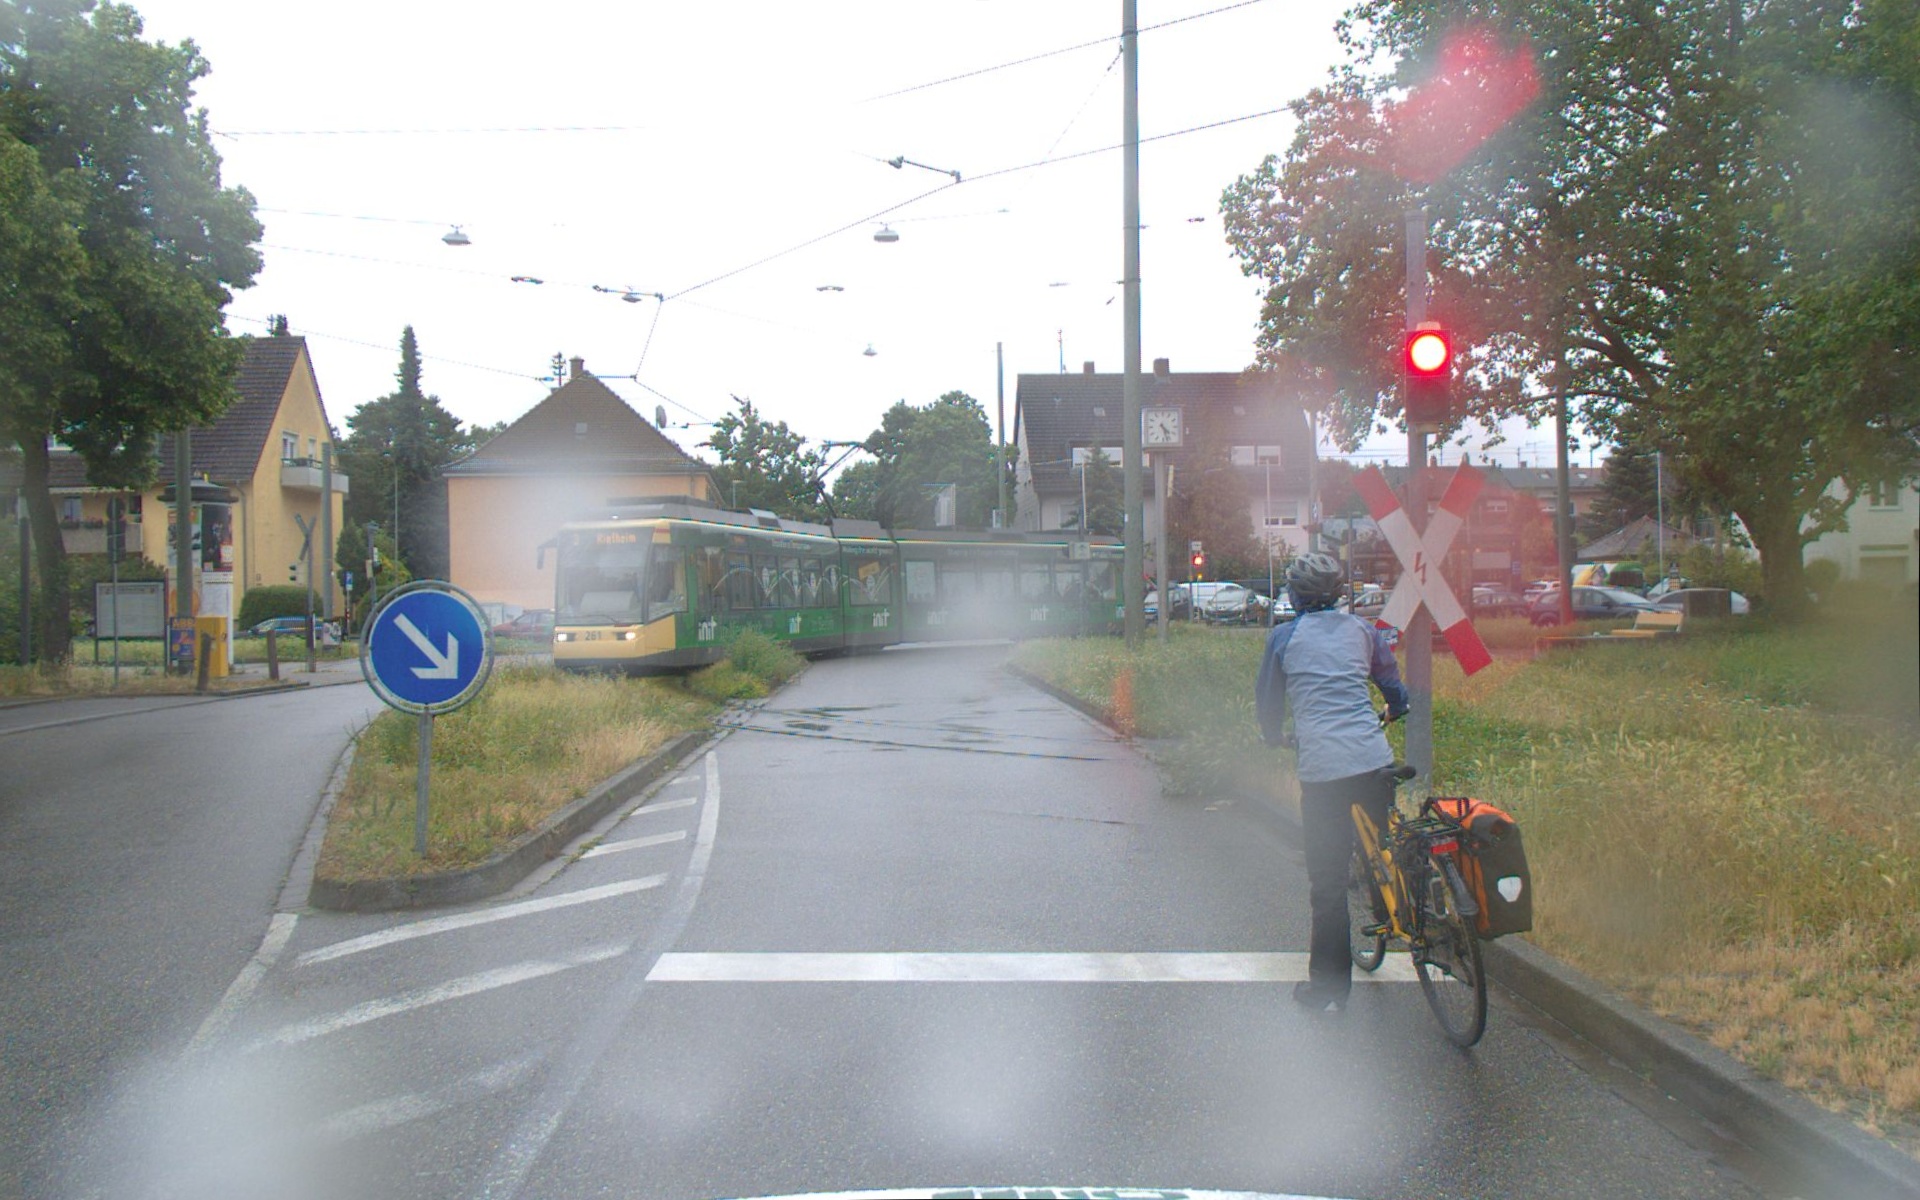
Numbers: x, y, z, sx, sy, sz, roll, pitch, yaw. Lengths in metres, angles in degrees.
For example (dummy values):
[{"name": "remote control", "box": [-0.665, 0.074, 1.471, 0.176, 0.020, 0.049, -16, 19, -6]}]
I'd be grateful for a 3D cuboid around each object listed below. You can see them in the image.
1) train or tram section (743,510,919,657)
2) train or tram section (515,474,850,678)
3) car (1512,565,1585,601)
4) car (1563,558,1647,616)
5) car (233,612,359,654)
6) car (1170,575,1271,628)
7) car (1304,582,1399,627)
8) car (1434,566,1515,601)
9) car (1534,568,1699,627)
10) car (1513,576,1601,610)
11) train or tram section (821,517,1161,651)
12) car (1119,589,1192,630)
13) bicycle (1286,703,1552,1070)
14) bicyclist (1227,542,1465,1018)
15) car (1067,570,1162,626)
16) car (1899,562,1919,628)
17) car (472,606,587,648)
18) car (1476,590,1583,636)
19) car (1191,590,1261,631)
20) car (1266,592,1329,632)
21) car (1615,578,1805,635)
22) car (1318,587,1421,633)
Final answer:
[{"name": "train or tram section", "box": [-3.336, -0.406, 43.907, 2.704, 3.615, 4.988, -2, 0, 21]}, {"name": "train or tram section", "box": [-5.442, -0.417, 35.846, 2.701, 3.615, 12.214, -2, 0, 12]}, {"name": "car", "box": [34.241, -0.957, 96.298, 1.963, 2.049, 3.978, 1, 0, -19]}, {"name": "car", "box": [28.824, -0.564, 74.027, 1.953, 2.485, 4.352, 1, 0, -2]}, {"name": "car", "box": [-24.442, 1.203, 60.960, 3.911, 1.482, 1.831, 1, 0, -7]}, {"name": "car", "box": [12.016, 0.066, 76.413, 4.307, 2.365, 1.999, 1, -1, -3]}, {"name": "car", "box": [18.092, 0.229, 76.542, 3.907, 1.985, 1.999, 1, -1, -3]}, {"name": "car", "box": [28.545, -0.905, 91.868, 3.904, 1.822, 2.000, 1, 0, 2]}, {"name": "car", "box": [18.015, -0.072, 45.498, 3.848, 1.522, 1.798, 1, -1, 43]}, {"name": "car", "box": [31.065, -0.356, 86.073, 3.905, 1.668, 1.846, 1, 0, -1]}, {"name": "train or tram section", "box": [1.372, -0.487, 50.510, 2.718, 3.615, 13.062, -2, -1, 40]}, {"name": "car", "box": [8.345, 0.406, 70.474, 1.954, 1.668, 3.997, 1, 0, 24]}, {"name": "bicycle", "box": [1.612, 0.952, 6.053, 0.437, 1.022, 1.727, -1, 1, -2]}, {"name": "bicyclist", "box": [1.418, 0.633, 6.207, 0.653, 1.654, 0.852, 1, -1, -2]}, {"name": "car", "box": [7.478, -0.115, 79.912, 4.301, 2.610, 2.001, 1, -1, 14]}, {"name": "car", "box": [28.137, -0.111, 45.529, 3.703, 1.829, 1.798, 1, -1, 43]}, {"name": "car", "box": [-16.187, 1.020, 62.330, 3.911, 1.482, 1.831, 1, 0, -7]}, {"name": "car", "box": [22.609, 0.510, 65.742, 3.609, 1.731, 1.890, 1, 0, 0]}, {"name": "car", "box": [11.398, 0.460, 70.740, 1.954, 1.668, 3.997, 1, 0, 24]}, {"name": "car", "box": [14.560, 0.518, 71.178, 1.804, 1.668, 3.997, 1, 0, 24]}, {"name": "car", "box": [18.467, 0.152, 40.861, 3.902, 1.308, 1.847, 1, 0, 6]}, {"name": "car", "box": [16.151, 0.395, 65.342, 3.609, 1.731, 1.890, 1, 0, 0]}]
